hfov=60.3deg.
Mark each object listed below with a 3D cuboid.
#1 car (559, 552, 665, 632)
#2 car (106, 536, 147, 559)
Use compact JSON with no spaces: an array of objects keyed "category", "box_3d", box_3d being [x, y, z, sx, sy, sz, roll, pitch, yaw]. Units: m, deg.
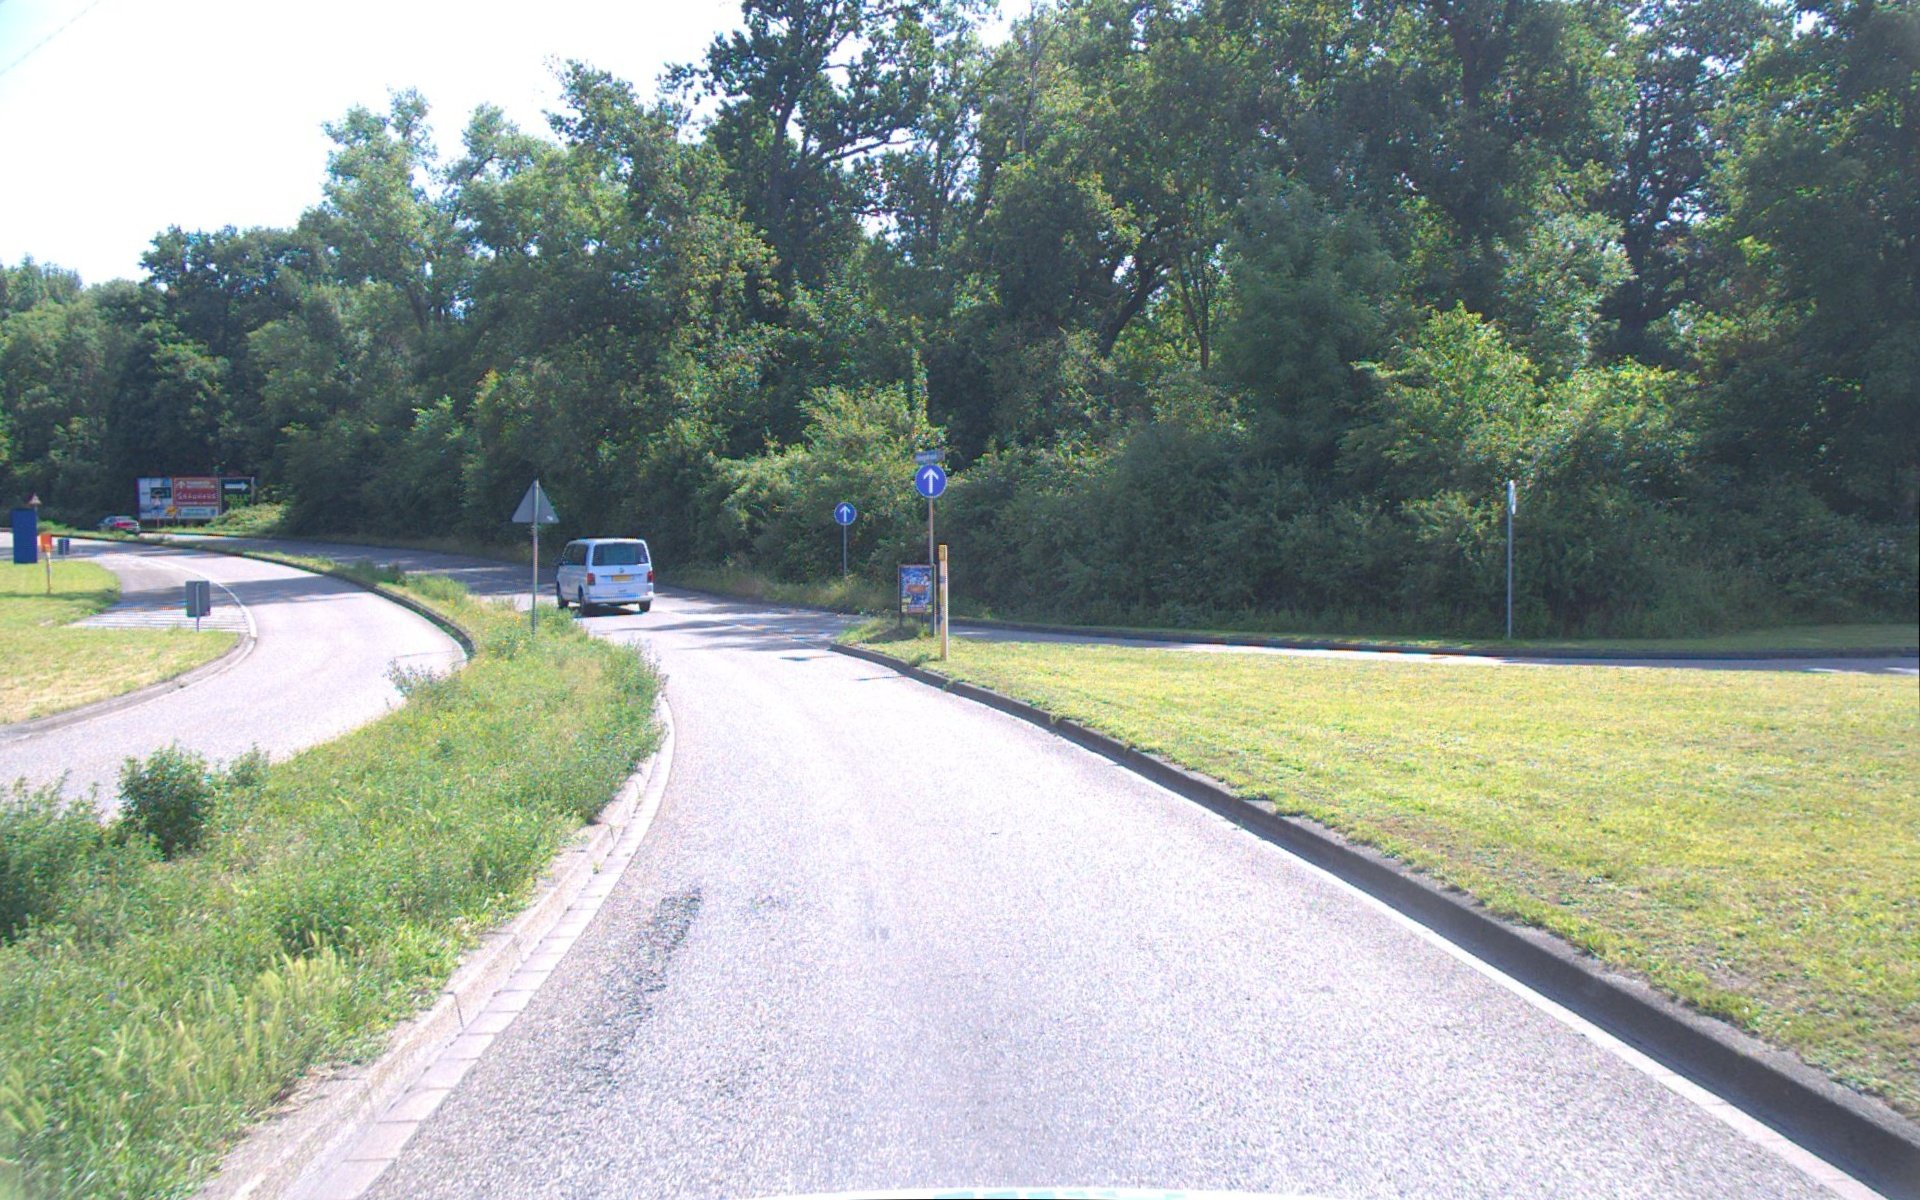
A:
[{"category":"car","box_3d":[-9.586,-0.241,45.356,2.013,2.048,3.970,-1,1,-24]},{"category":"car","box_3d":[-59.747,-3.778,118.547,1.640,1.593,3.599,-4,5,-43]}]
